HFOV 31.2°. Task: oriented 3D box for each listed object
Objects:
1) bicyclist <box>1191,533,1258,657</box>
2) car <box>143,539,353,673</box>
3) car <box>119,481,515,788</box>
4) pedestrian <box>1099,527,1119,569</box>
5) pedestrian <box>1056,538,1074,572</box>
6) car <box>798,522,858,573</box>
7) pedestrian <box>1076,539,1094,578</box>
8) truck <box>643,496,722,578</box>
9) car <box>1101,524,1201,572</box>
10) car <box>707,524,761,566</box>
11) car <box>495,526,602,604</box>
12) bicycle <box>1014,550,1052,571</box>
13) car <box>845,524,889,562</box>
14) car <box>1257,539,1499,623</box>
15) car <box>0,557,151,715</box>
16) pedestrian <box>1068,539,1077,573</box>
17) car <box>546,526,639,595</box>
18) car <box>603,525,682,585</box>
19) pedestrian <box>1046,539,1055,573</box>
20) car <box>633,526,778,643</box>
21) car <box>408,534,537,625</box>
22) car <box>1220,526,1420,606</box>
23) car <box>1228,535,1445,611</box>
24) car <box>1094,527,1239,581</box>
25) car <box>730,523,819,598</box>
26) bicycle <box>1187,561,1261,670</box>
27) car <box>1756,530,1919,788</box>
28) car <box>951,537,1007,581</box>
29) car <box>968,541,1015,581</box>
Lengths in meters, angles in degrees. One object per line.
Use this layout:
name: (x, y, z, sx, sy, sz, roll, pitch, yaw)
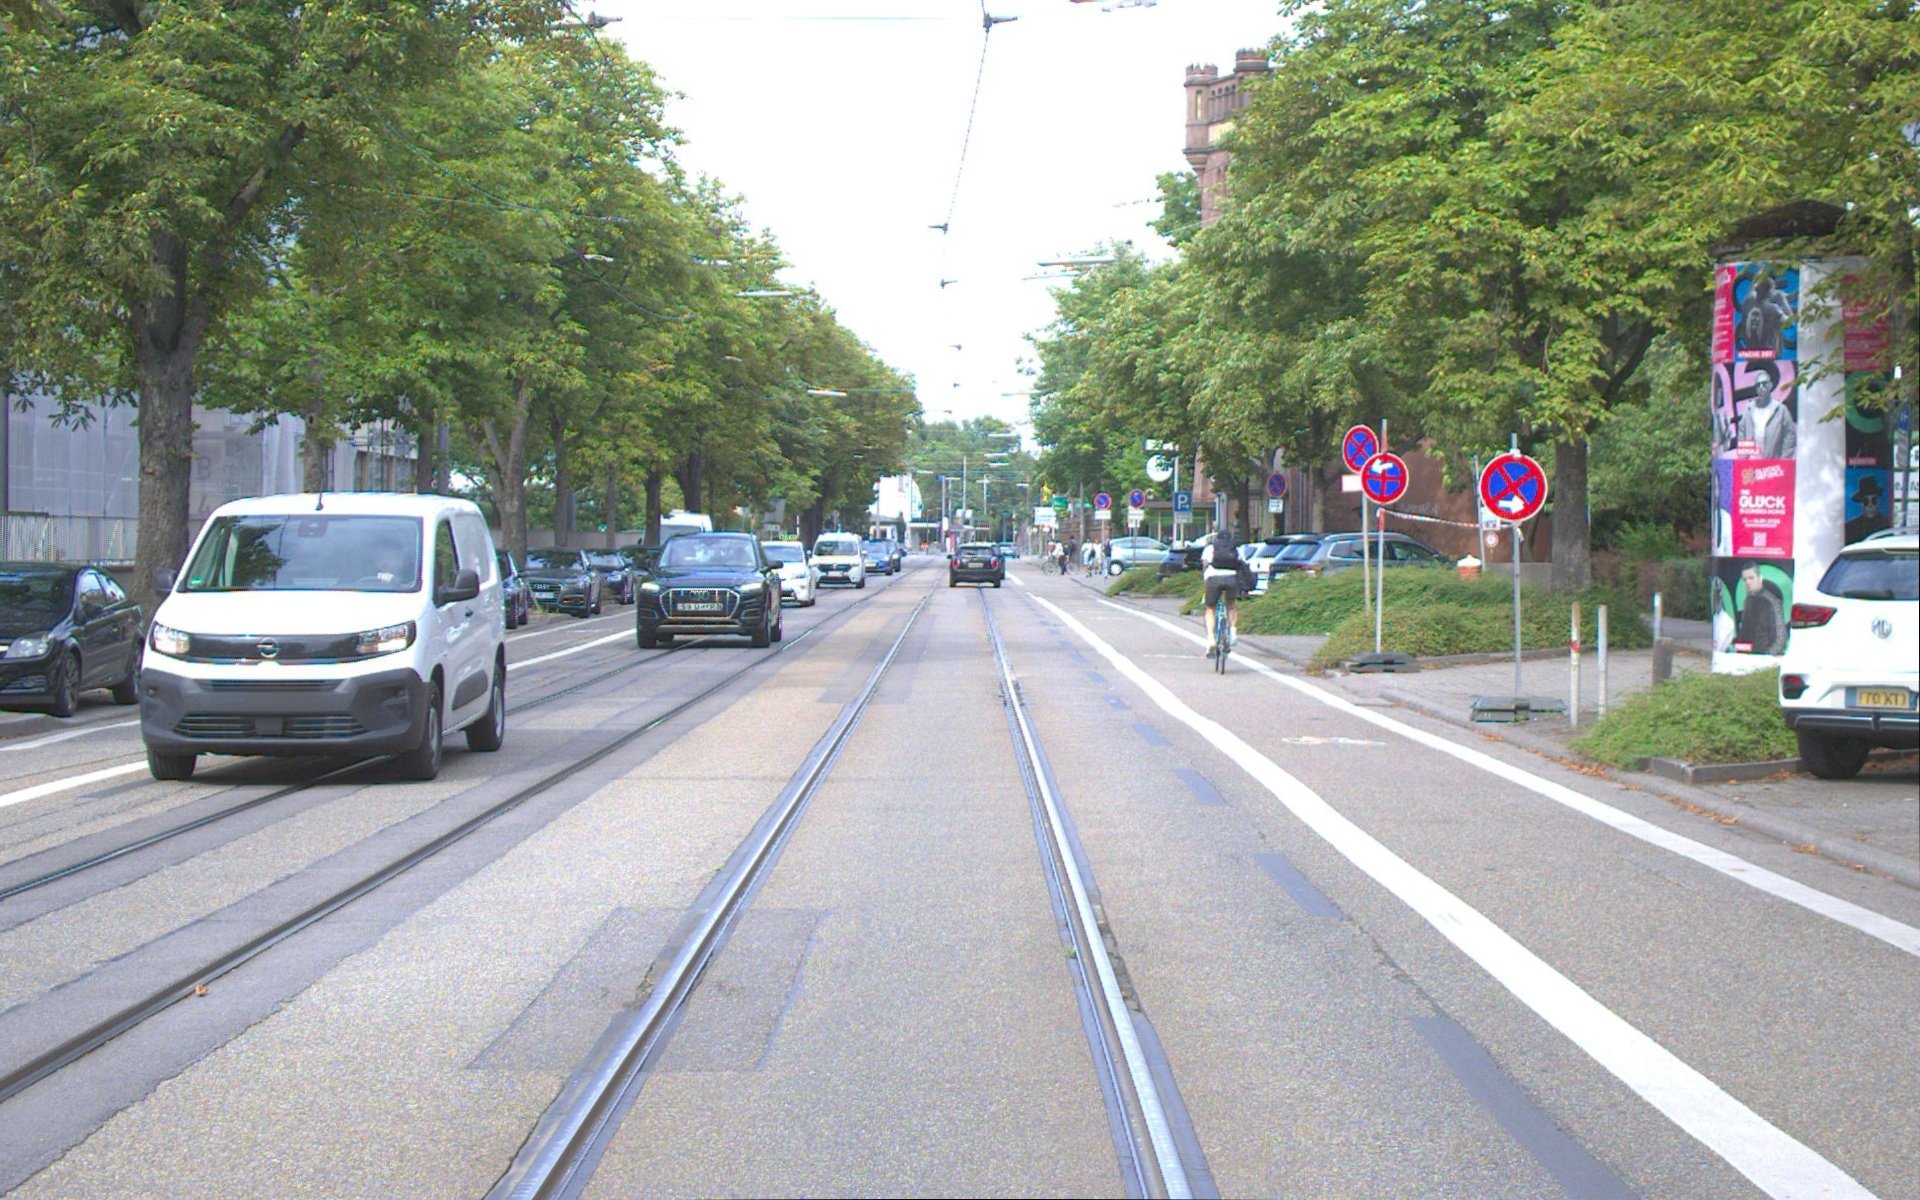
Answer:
bicyclist: (3.180, -0.070, 41.351, 0.657, 1.458, 1.179, 1, 1, -1)
car: (-8.823, 0.033, 42.890, 1.802, 1.578, 4.031, -1, 1, -1)
car: (-4.140, 0.166, 22.825, 1.802, 1.817, 4.485, -1, 1, -1)
pedestrian: (5.948, -2.078, 137.194, 0.726, 1.640, 0.766, 1, 1, 2)
pedestrian: (5.097, -2.180, 166.766, 0.726, 1.640, 0.766, 2, 1, 10)
car: (-4.244, -1.708, 111.297, 1.802, 1.616, 4.485, -1, 1, -1)
pedestrian: (5.331, -1.757, 146.276, 0.726, 1.640, 0.766, 1, 1, 2)
truck: (-8.530, -1.945, 106.110, 2.071, 2.462, 4.899, -1, 1, -1)
car: (8.041, -2.199, 145.151, 3.986, 1.904, 2.000, 1, 1, -2)
car: (-8.656, -2.101, 131.853, 1.802, 1.578, 4.031, -1, 1, -1)
car: (-8.682, -0.754, 72.723, 1.802, 1.578, 4.031, -1, 1, -1)
bicycle: (3.548, -1.907, 167.192, 1.721, 0.988, 0.658, 2, 1, 9)
car: (-4.026, -2.470, 149.553, 1.802, 1.616, 4.485, -1, 1, -1)
car: (7.397, -0.349, 61.045, 3.986, 1.420, 1.885, 1, 1, -3)
car: (-9.013, 0.303, 32.501, 1.802, 1.369, 4.031, -1, 1, -1)
pedestrian: (6.751, -2.647, 206.356, 0.518, 2.007, 0.480, 1, 1, 4)
car: (-8.700, -0.959, 81.682, 1.802, 1.578, 4.031, -1, 1, -1)
car: (-8.574, -1.222, 93.086, 1.802, 1.578, 4.031, -1, 1, -1)
pedestrian: (5.370, -2.628, 204.112, 0.518, 2.007, 0.480, 1, 1, 4)
car: (-3.655, -0.255, 50.087, 1.802, 1.616, 4.485, -1, 1, -1)
car: (-8.825, -0.399, 62.492, 1.802, 1.578, 4.031, -1, 1, -1)
car: (7.658, -0.734, 73.345, 3.986, 1.622, 1.885, 1, 1, -3)
car: (7.416, -0.546, 67.945, 3.986, 1.420, 1.885, 1, 1, -3)
car: (5.925, -1.324, 98.988, 3.986, 1.503, 1.885, 1, 1, -3)
car: (-4.180, -0.913, 77.968, 1.802, 1.616, 4.485, -1, 1, -1)
bicycle: (3.169, 0.169, 41.364, 0.657, 1.244, 2.125, 1, 1, -1)
car: (6.933, 0.350, 22.439, 3.437, 1.567, 1.560, 0, 1, -38)
car: (0.623, -1.380, 114.917, 1.793, 1.418, 4.000, 1, 1, 0)
car: (1.254, -1.573, 137.105, 1.793, 1.465, 4.000, 2, 1, 1)
